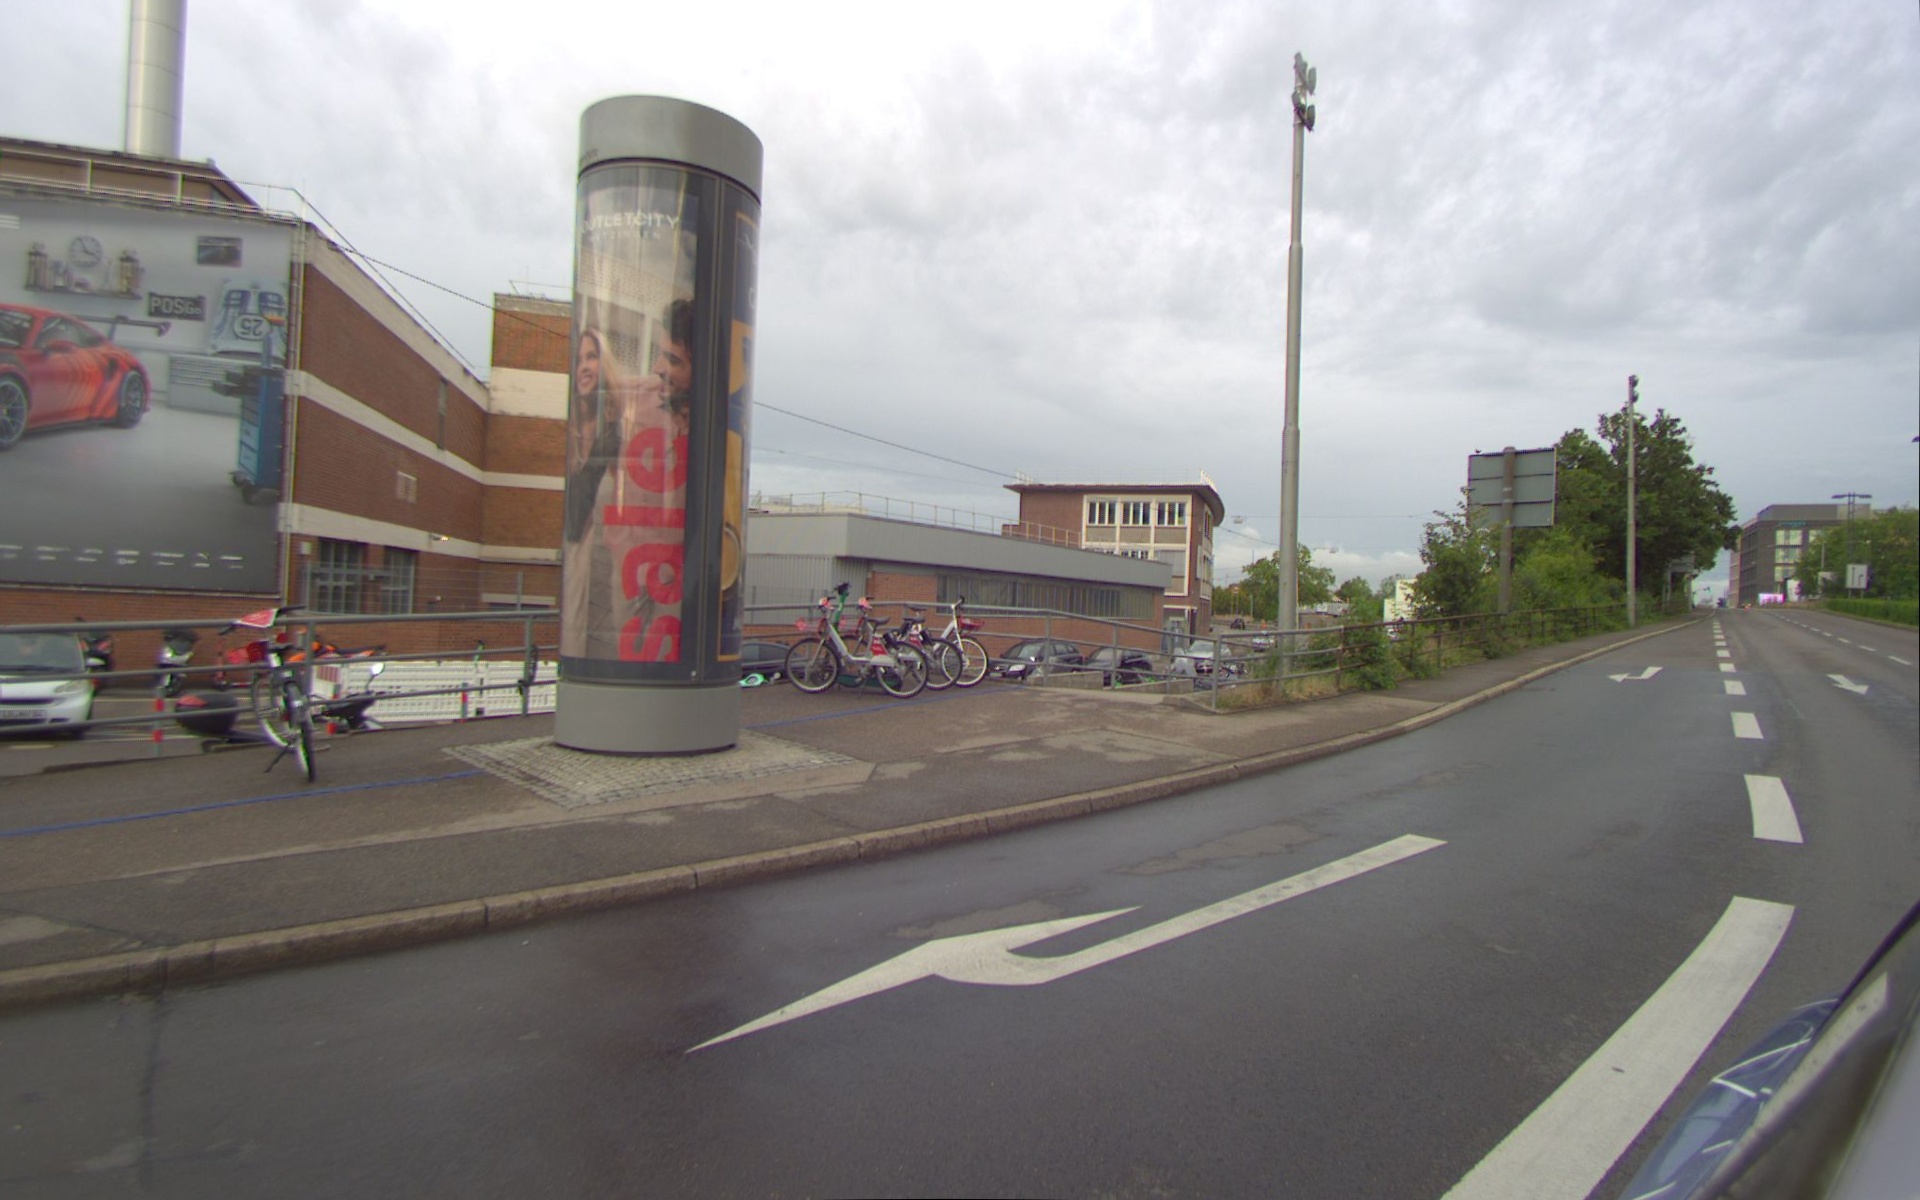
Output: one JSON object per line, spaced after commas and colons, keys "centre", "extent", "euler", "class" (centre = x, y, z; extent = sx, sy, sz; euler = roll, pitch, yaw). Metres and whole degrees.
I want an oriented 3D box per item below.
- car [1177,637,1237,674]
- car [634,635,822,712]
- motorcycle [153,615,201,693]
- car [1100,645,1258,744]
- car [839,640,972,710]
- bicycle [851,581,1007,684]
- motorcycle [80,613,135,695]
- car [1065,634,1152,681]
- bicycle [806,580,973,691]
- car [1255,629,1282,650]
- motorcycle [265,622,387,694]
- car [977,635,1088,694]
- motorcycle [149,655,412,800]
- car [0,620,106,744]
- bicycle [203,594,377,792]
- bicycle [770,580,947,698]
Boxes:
{"centre": [12.398, 2.746, 50.670], "extent": [1.692, 1.574, 3.809], "euler": [1, 1, 35], "class": "car"}
{"centre": [-5.377, 1.681, 23.929], "extent": [1.694, 1.630, 4.204], "euler": [-1, -3, 37], "class": "car"}
{"centre": [-15.341, 1.032, 19.852], "extent": [0.562, 1.325, 1.873], "euler": [3, 2, -34], "class": "motorcycle"}
{"centre": [4.502, 1.807, 20.399], "extent": [1.694, 1.574, 3.805], "euler": [1, 1, 37], "class": "car"}
{"centre": [-1.479, 2.066, 28.858], "extent": [1.694, 1.648, 3.878], "euler": [1, 1, 37], "class": "car"}
{"centre": [-0.408, 0.384, 12.946], "extent": [1.910, 1.192, 0.595], "euler": [2, 1, 23], "class": "bicycle"}
{"centre": [-16.120, 1.001, 19.174], "extent": [0.675, 1.325, 2.022], "euler": [3, 2, -38], "class": "motorcycle"}
{"centre": [5.745, 2.160, 38.886], "extent": [1.694, 1.574, 3.805], "euler": [1, 1, 37], "class": "car"}
{"centre": [-0.830, 0.402, 12.121], "extent": [1.900, 1.239, 0.598], "euler": [1, 1, 8], "class": "bicycle"}
{"centre": [23.315, 2.959, 76.473], "extent": [1.648, 1.413, 3.971], "euler": [0, 0, 21], "class": "car"}
{"centre": [-13.003, 1.193, 20.825], "extent": [1.943, 1.325, 0.932], "euler": [3, 1, -24], "class": "motorcycle"}
{"centre": [2.517, 2.107, 34.135], "extent": [1.629, 1.652, 4.371], "euler": [1, 1, 37], "class": "car"}
{"centre": [-5.739, 1.022, 8.635], "extent": [0.696, 1.002, 1.726], "euler": [1, 0, 38], "class": "motorcycle"}
{"centre": [-13.852, 1.137, 15.047], "extent": [1.663, 1.500, 3.557], "euler": [4, -1, -40], "class": "car"}
{"centre": [-4.786, 0.579, 7.174], "extent": [1.799, 1.176, 0.583], "euler": [3, 2, 41], "class": "bicycle"}
{"centre": [-1.141, 0.418, 11.482], "extent": [1.901, 1.239, 0.598], "euler": [2, 1, 10], "class": "bicycle"}
